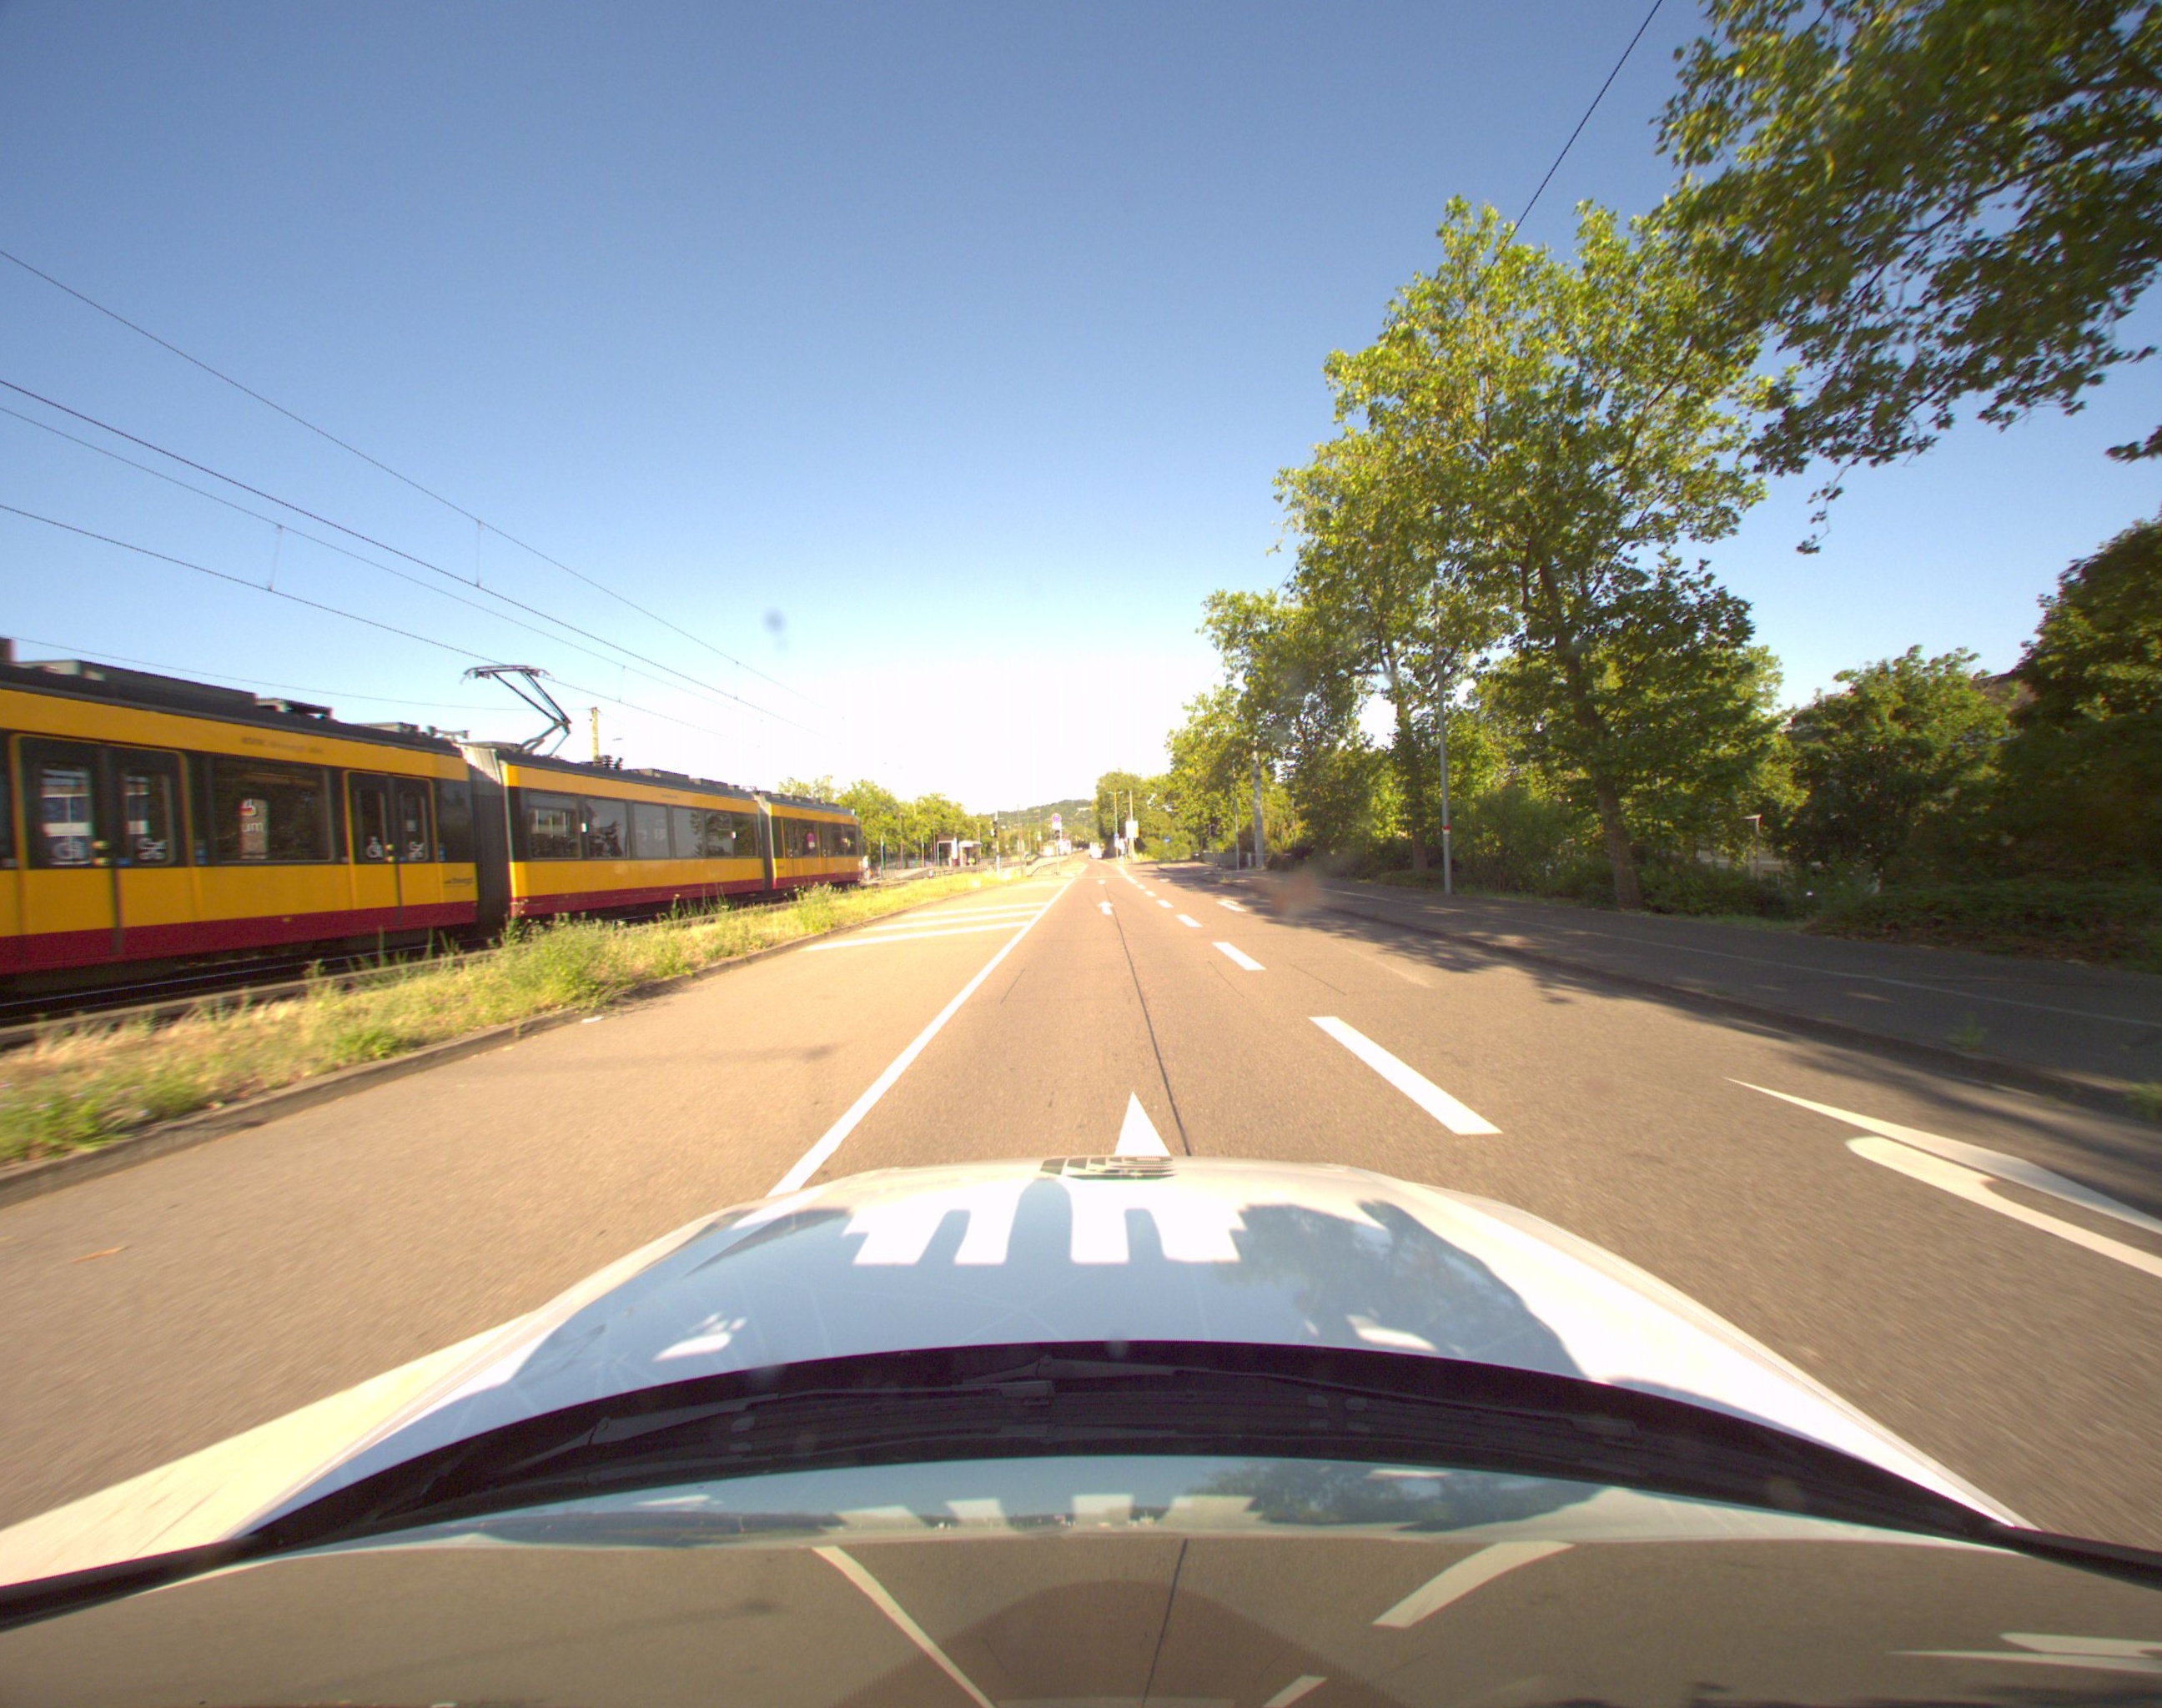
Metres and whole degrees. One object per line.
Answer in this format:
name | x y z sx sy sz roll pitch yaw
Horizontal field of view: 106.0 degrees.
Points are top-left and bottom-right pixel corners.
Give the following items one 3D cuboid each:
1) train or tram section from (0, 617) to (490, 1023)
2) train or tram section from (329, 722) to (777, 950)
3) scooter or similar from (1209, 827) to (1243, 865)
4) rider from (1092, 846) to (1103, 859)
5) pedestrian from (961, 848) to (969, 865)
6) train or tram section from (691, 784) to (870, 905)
train or tram section | -11.938 -0.306 7.912 2.814 3.950 12.710 -1 0 1
train or tram section | -11.654 -0.313 20.666 2.814 3.950 12.656 -1 0 1
scooter or similar | 10.731 -0.579 60.549 1.675 2.715 4.871 -2 0 2
rider | 3.504 -0.294 173.844 2.098 2.647 0.738 -2 0 6
pedestrian | -13.708 0.254 96.365 0.741 2.013 0.608 -1 0 1
train or tram section | -11.385 -0.319 32.449 2.814 3.950 10.837 -1 0 1
